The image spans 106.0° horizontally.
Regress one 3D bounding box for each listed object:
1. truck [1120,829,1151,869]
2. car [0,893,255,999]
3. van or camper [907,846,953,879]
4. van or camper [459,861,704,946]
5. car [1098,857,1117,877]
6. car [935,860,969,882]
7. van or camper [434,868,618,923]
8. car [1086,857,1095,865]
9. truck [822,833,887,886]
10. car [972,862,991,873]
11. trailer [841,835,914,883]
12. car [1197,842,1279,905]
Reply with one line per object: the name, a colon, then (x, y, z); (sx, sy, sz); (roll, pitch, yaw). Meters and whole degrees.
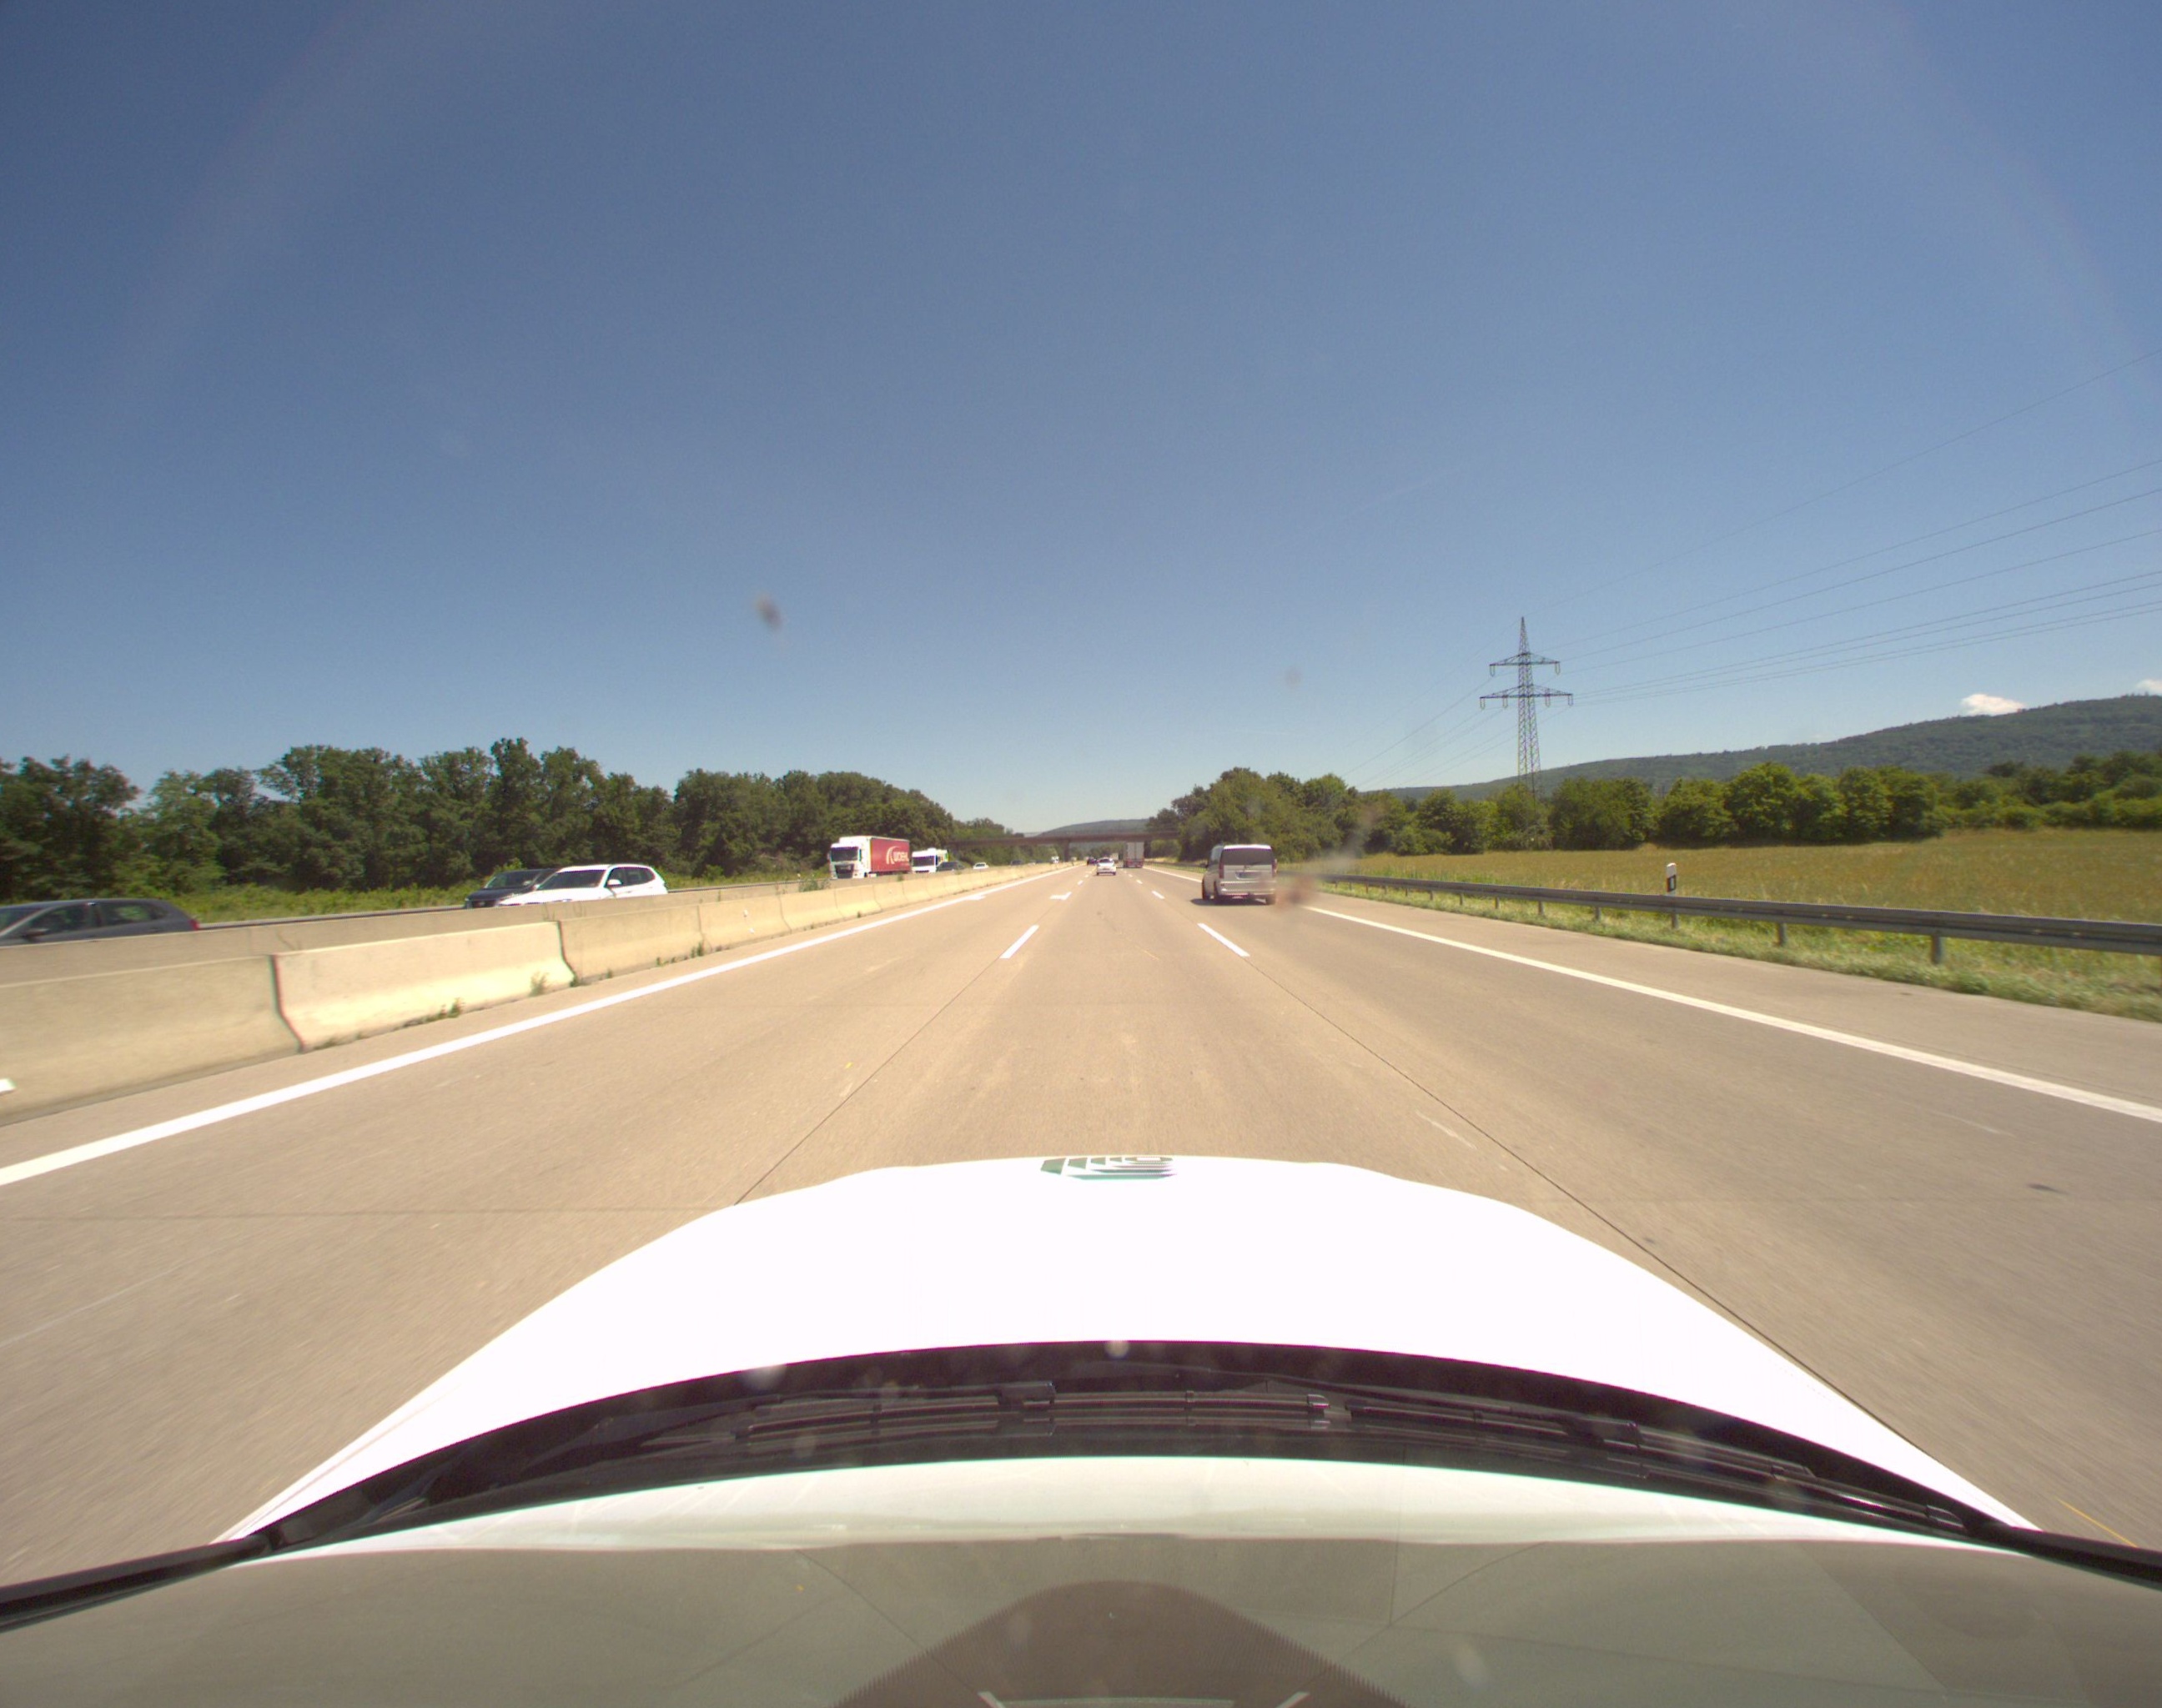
truck: (8.372, -0.681, 127.710); (3.565, 5.787, 18.244); (-1, 0, 0)
car: (-16.180, 1.421, 13.043); (1.689, 1.333, 4.002); (-2, 0, 2)
van or camper: (-14.209, 0.750, 77.283); (2.516, 2.890, 7.941); (-2, 0, 2)
van or camper: (-11.878, 1.063, 20.082); (2.233, 1.692, 5.852); (-2, 0, 2)
car: (2.345, 1.110, 71.404); (1.635, 1.662, 3.361); (0, 0, 2)
car: (-10.198, 1.326, 64.603); (1.787, 1.555, 4.603); (-2, 0, 2)
van or camper: (-19.761, 1.404, 29.496); (2.357, 1.622, 6.092); (-2, 0, 1)
car: (2.062, 1.526, 178.811); (2.016, 1.701, 3.998); (0, -1, -1)
truck: (-18.544, 0.425, 67.200); (2.988, 3.982, 7.298); (-2, 0, 2)
car: (-13.196, 1.785, 108.231); (1.681, 1.263, 4.793); (-2, 0, 2)
trailer: (-18.321, 0.419, 74.366); (2.988, 3.982, 12.346); (-2, 0, 2)
car: (5.136, 0.602, 27.334); (1.872, 1.889, 5.281); (-1, 0, 2)
